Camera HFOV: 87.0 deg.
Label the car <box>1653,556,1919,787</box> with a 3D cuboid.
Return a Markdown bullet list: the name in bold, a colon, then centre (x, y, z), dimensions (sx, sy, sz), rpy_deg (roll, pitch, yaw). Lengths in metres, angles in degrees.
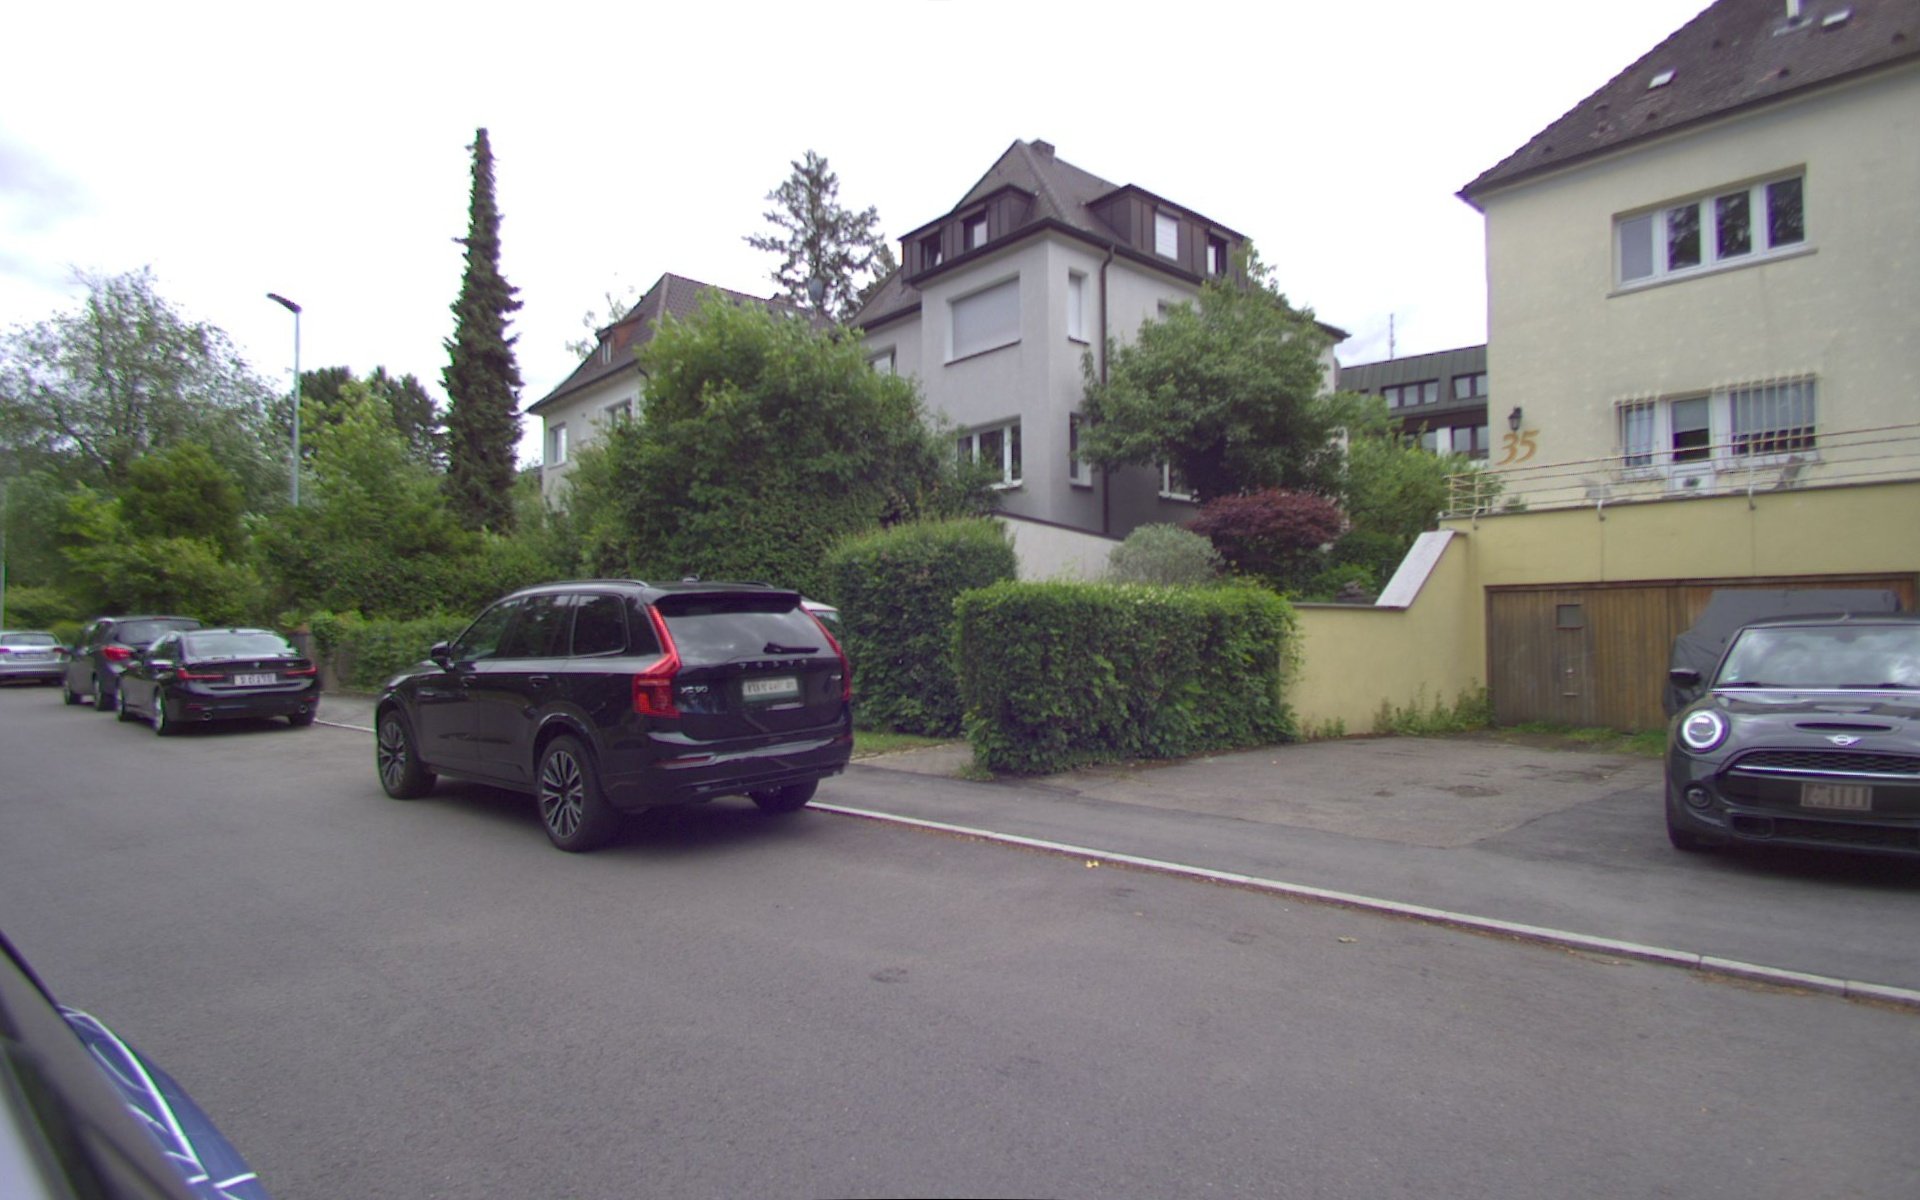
- **car**: centre (8.238, 0.687, 9.664), dimensions (3.506, 1.808, 2.011), rpy_deg (5, -5, -44)

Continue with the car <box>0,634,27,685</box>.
- **car**: centre (-29.173, 1.755, 30.043), dimensions (4.378, 1.464, 1.642), rpy_deg (-2, -3, 41)

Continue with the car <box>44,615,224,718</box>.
- **car**: centre (-15.276, 1.151, 18.632), dimensions (4.564, 1.645, 1.714), rpy_deg (-2, -1, 40)

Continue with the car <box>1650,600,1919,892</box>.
- **car**: centre (5.754, 0.722, 6.336), dimensions (1.778, 1.396, 3.781), rpy_deg (-4, -3, 43)

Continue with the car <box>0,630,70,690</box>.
- **car**: centre (-24.704, 1.532, 26.374), dimensions (4.089, 1.461, 1.607), rpy_deg (-2, -3, 39)

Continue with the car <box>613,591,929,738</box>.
- **car**: centre (-2.433, 0.740, 13.324), dimensions (3.644, 1.650, 1.832), rpy_deg (-1, -1, -37)

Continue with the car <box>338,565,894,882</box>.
- **car**: centre (-3.034, 0.737, 8.085), dimensions (5.188, 1.750, 1.953), rpy_deg (-2, -1, 43)

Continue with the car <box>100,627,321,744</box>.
- **car**: centre (-11.216, 1.151, 14.994), dimensions (4.897, 1.423, 1.735), rpy_deg (-2, -1, 43)
